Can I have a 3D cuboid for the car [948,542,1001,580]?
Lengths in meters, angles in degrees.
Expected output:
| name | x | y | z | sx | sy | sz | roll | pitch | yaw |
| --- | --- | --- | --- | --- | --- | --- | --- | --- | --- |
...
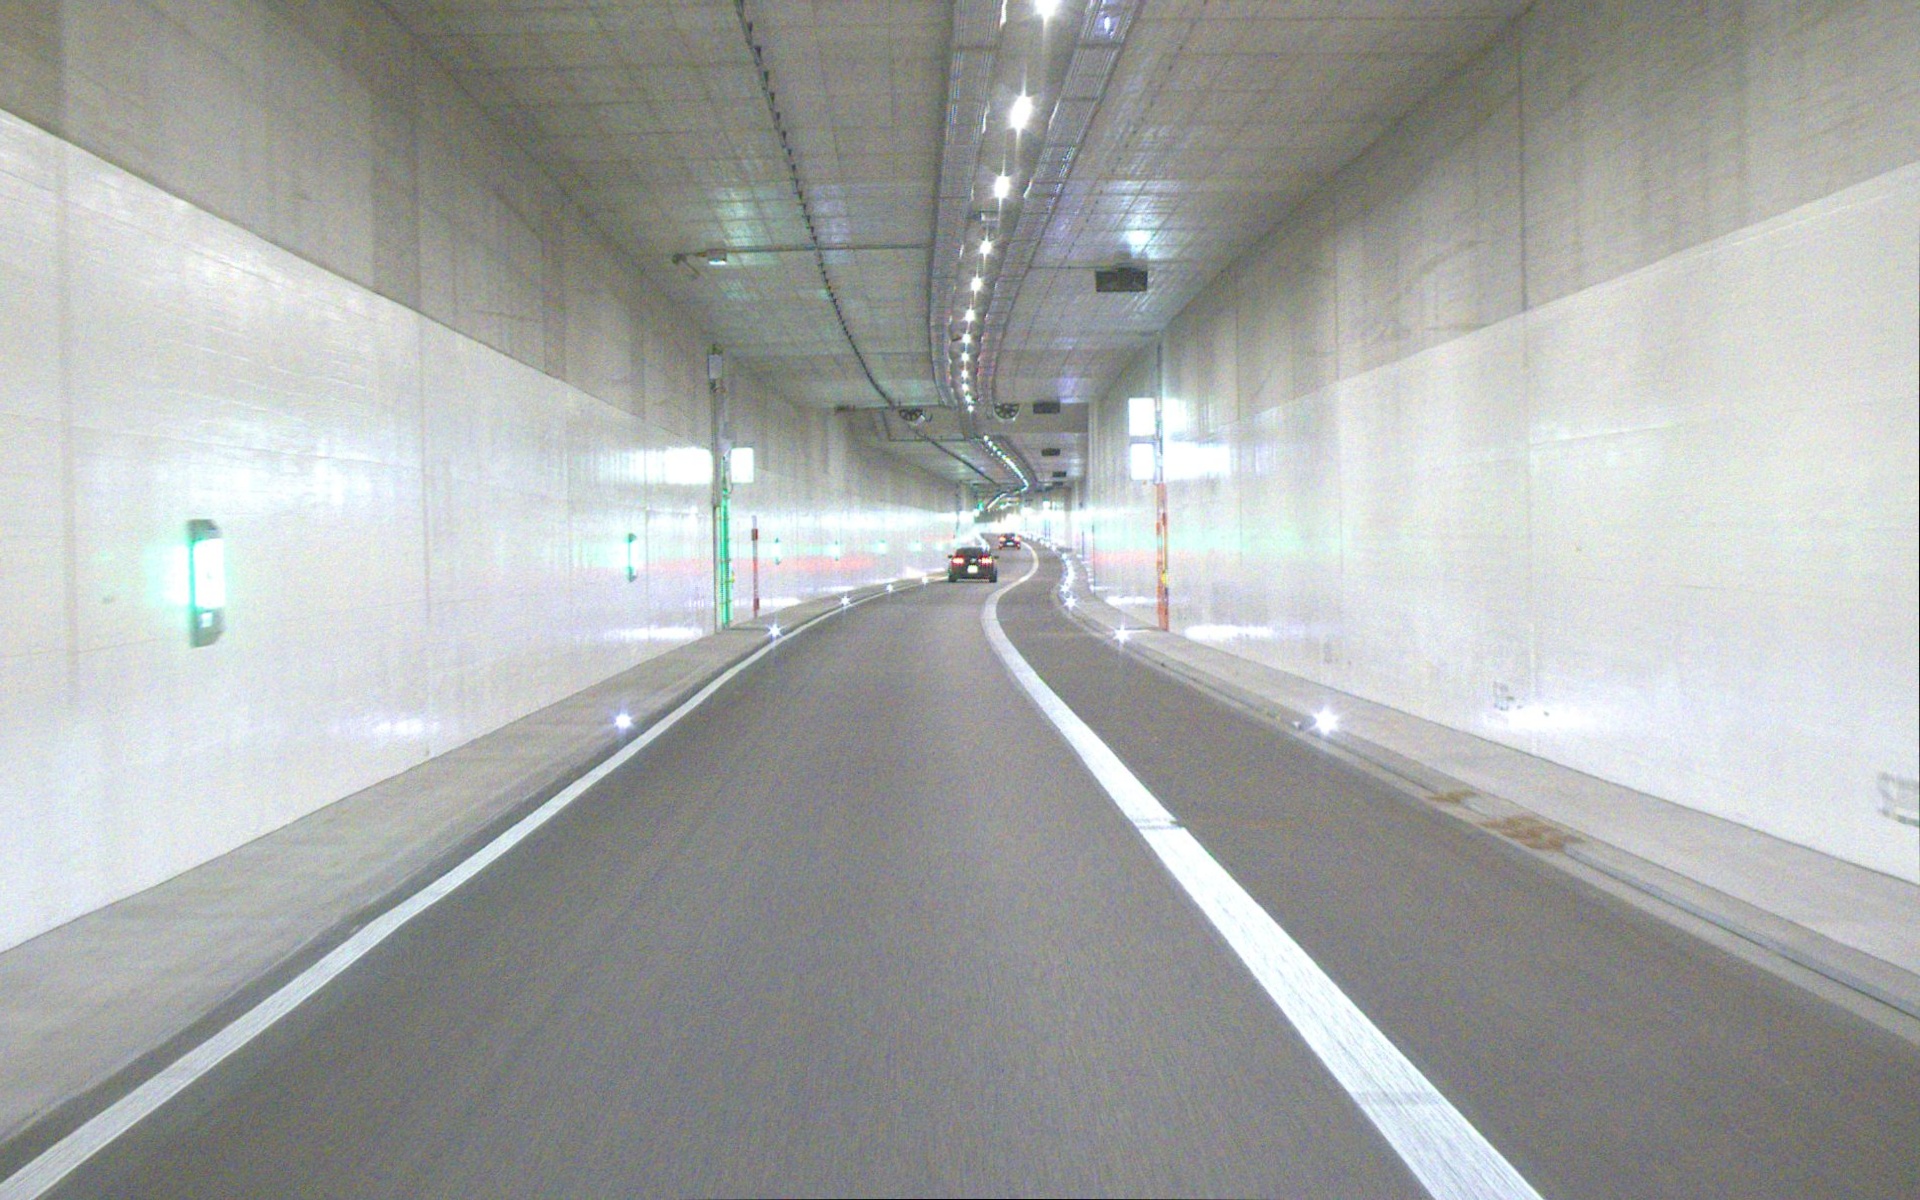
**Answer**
| name | x | y | z | sx | sy | sz | roll | pitch | yaw |
| --- | --- | --- | --- | --- | --- | --- | --- | --- | --- |
| car | 0.536 | -1.527 | 134.586 | 1.993 | 1.415 | 4.000 | 1 | 1 | 0 |
